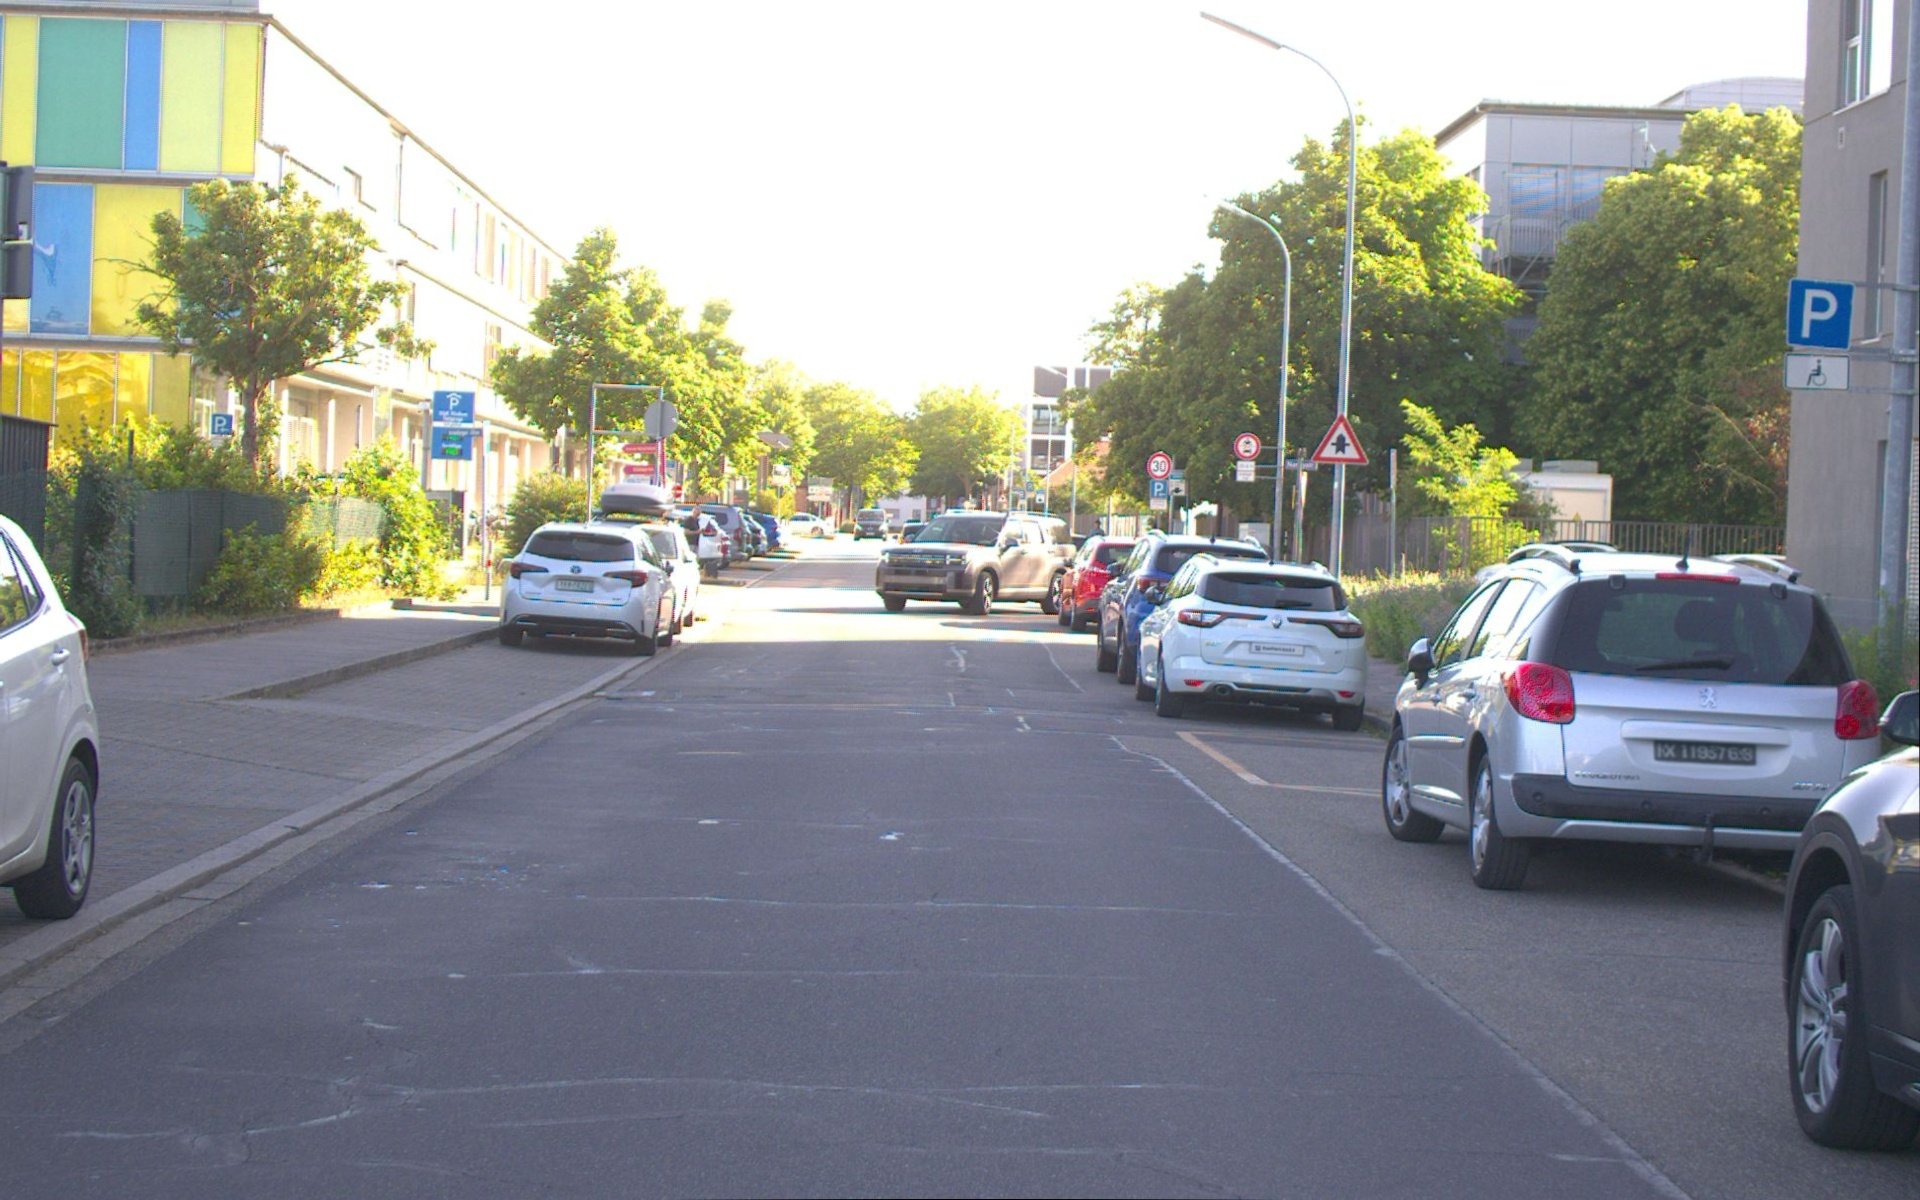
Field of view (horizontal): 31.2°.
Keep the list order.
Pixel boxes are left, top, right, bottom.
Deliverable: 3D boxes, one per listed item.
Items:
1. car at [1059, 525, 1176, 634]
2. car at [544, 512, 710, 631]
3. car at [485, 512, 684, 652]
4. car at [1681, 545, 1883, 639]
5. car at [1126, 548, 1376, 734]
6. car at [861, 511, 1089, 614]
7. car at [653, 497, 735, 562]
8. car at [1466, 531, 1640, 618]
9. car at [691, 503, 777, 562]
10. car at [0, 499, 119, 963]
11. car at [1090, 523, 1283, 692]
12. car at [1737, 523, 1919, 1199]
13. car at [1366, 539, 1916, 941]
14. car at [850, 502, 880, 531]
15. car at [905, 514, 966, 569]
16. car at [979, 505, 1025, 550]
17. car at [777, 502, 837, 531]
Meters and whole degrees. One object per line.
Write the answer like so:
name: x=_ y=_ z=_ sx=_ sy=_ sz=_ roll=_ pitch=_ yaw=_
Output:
car: x=2.420 y=-0.345 z=53.583 sx=1.445 sy=1.544 sz=3.615 roll=4 pitch=1 yaw=-2
car: x=-4.497 y=-0.417 z=46.952 sx=1.854 sy=1.423 sz=4.134 roll=4 pitch=1 yaw=-1
car: x=-4.297 y=-0.241 z=39.918 sx=1.854 sy=1.423 sz=4.134 roll=4 pitch=1 yaw=-1
car: x=14.791 y=-0.148 z=61.974 sx=3.216 sy=1.455 sz=1.450 roll=4 pitch=1 yaw=2
car: x=2.562 y=0.317 z=31.170 sx=1.741 sy=1.423 sz=4.134 roll=4 pitch=1 yaw=-1
car: x=0.293 y=-0.630 z=58.959 sx=1.847 sy=1.541 sz=4.185 roll=5 pitch=1 yaw=33
car: x=-7.029 y=-1.880 z=91.215 sx=1.854 sy=1.558 sz=4.134 roll=4 pitch=1 yaw=-1
car: x=12.060 y=-0.533 z=70.016 sx=3.216 sy=1.544 sz=1.450 roll=4 pitch=1 yaw=2
car: x=-6.516 y=-1.939 z=99.550 sx=1.855 sy=1.558 sz=4.133 roll=4 pitch=1 yaw=4
car: x=-3.833 y=0.405 z=10.670 sx=1.559 sy=1.489 sz=3.759 roll=2 pitch=1 yaw=-1
car: x=2.402 y=0.040 z=37.174 sx=1.632 sy=1.625 sz=3.615 roll=4 pitch=1 yaw=-2
car: x=3.083 y=0.704 z=7.292 sx=1.741 sy=1.619 sz=4.179 roll=4 pitch=1 yaw=-1
car: x=3.061 y=0.550 z=16.230 sx=1.657 sy=1.546 sz=3.851 roll=4 pitch=1 yaw=-1
car: x=-5.578 y=-4.909 z=202.237 sx=1.664 sy=1.544 sz=3.902 roll=4 pitch=1 yaw=-2
car: x=-0.764 y=-1.827 z=106.421 sx=1.689 sy=1.544 sz=3.615 roll=4 pitch=1 yaw=-2
car: x=1.534 y=-2.678 z=127.182 sx=1.445 sy=1.544 sz=3.615 roll=4 pitch=1 yaw=-2
car: x=-9.539 y=-5.203 z=214.509 sx=3.601 sy=1.544 sz=1.450 roll=4 pitch=1 yaw=-6
